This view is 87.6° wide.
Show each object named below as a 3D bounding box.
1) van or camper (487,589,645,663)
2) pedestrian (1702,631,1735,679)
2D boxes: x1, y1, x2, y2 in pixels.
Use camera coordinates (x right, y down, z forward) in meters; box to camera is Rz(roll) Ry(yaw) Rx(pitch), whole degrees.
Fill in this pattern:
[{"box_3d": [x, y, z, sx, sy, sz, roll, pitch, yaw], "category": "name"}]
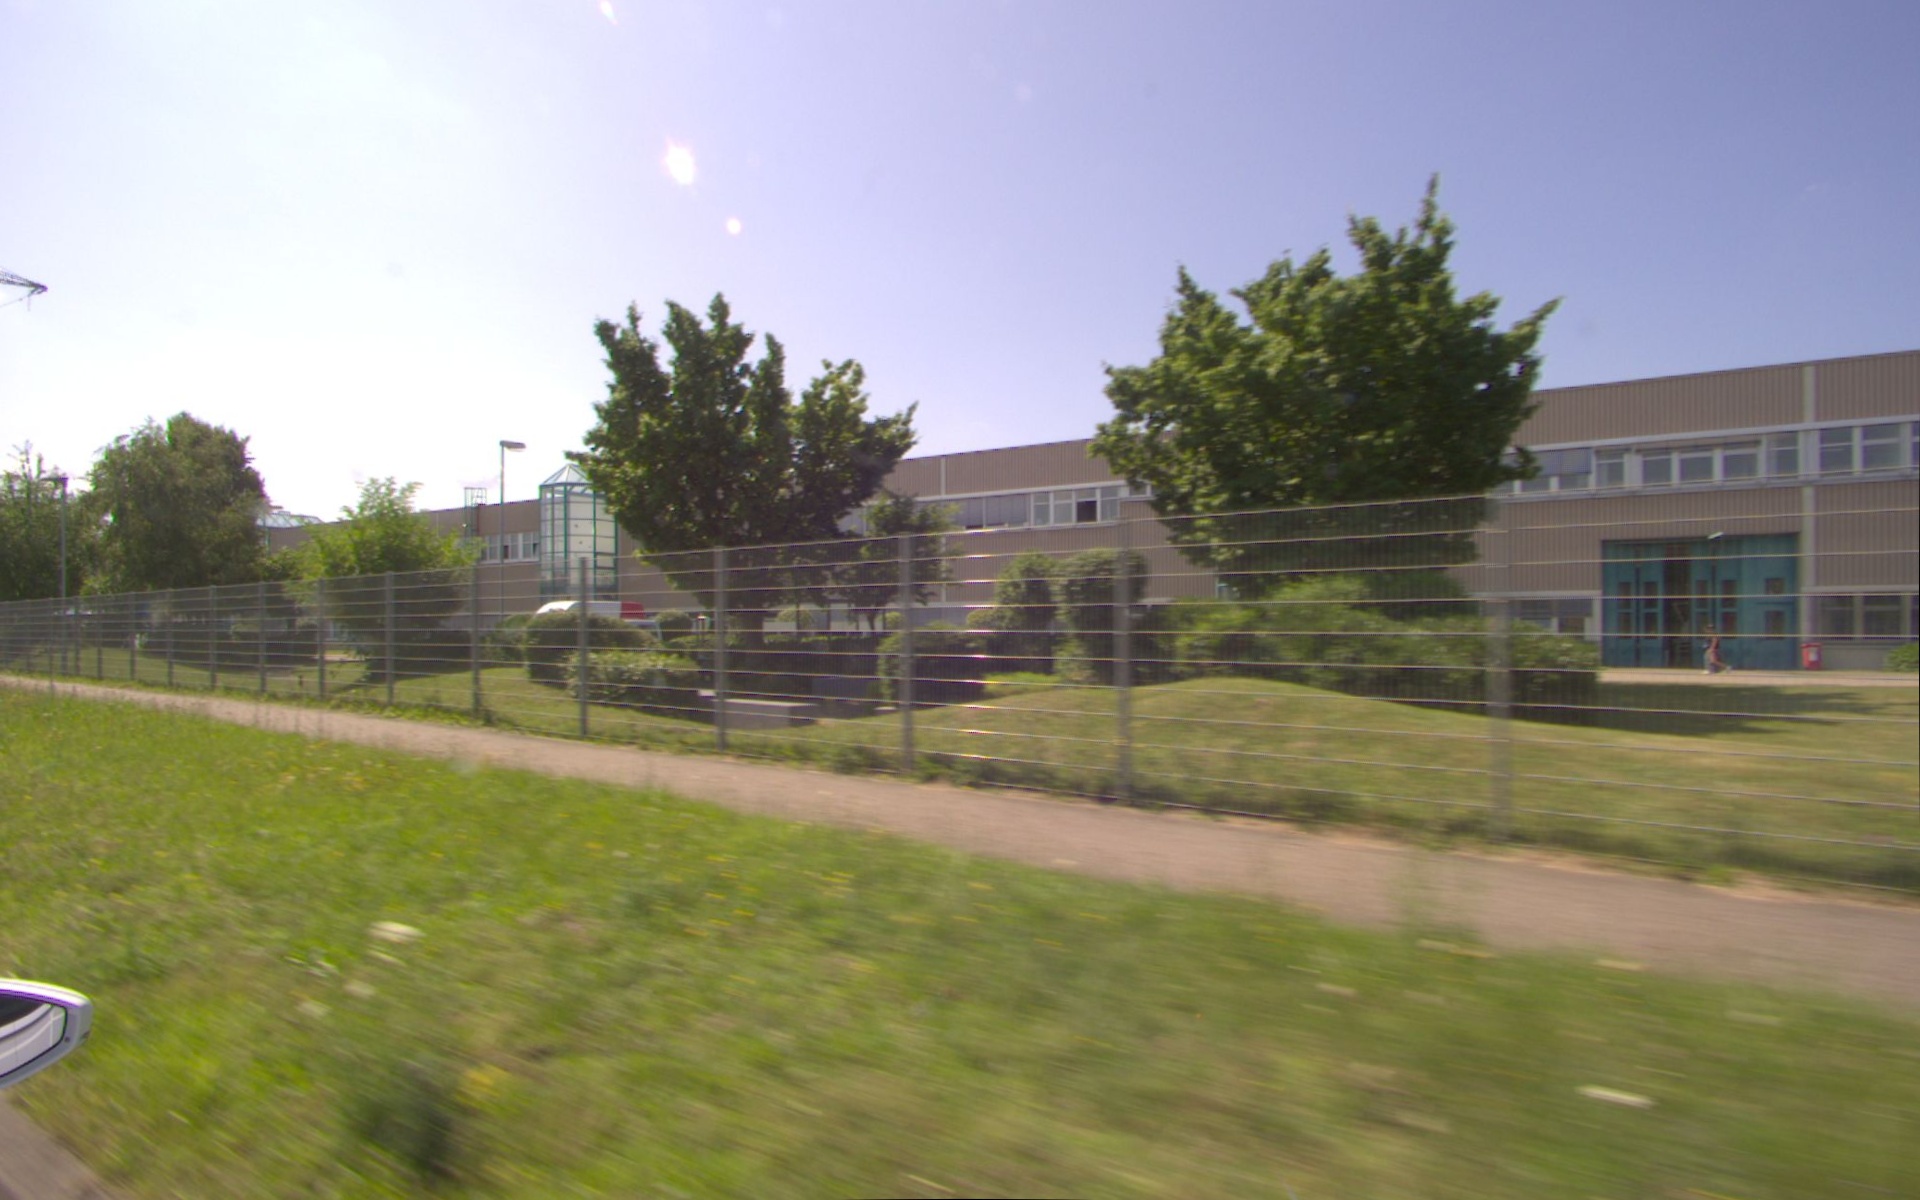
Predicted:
[{"box_3d": [-15.231, 1.103, 39.118, 1.970, 2.548, 5.771, 0, -4, 29], "category": "van or camper"}, {"box_3d": [22.397, 1.617, 29.570, 0.720, 1.409, 0.513, 0, -1, 32], "category": "pedestrian"}]
